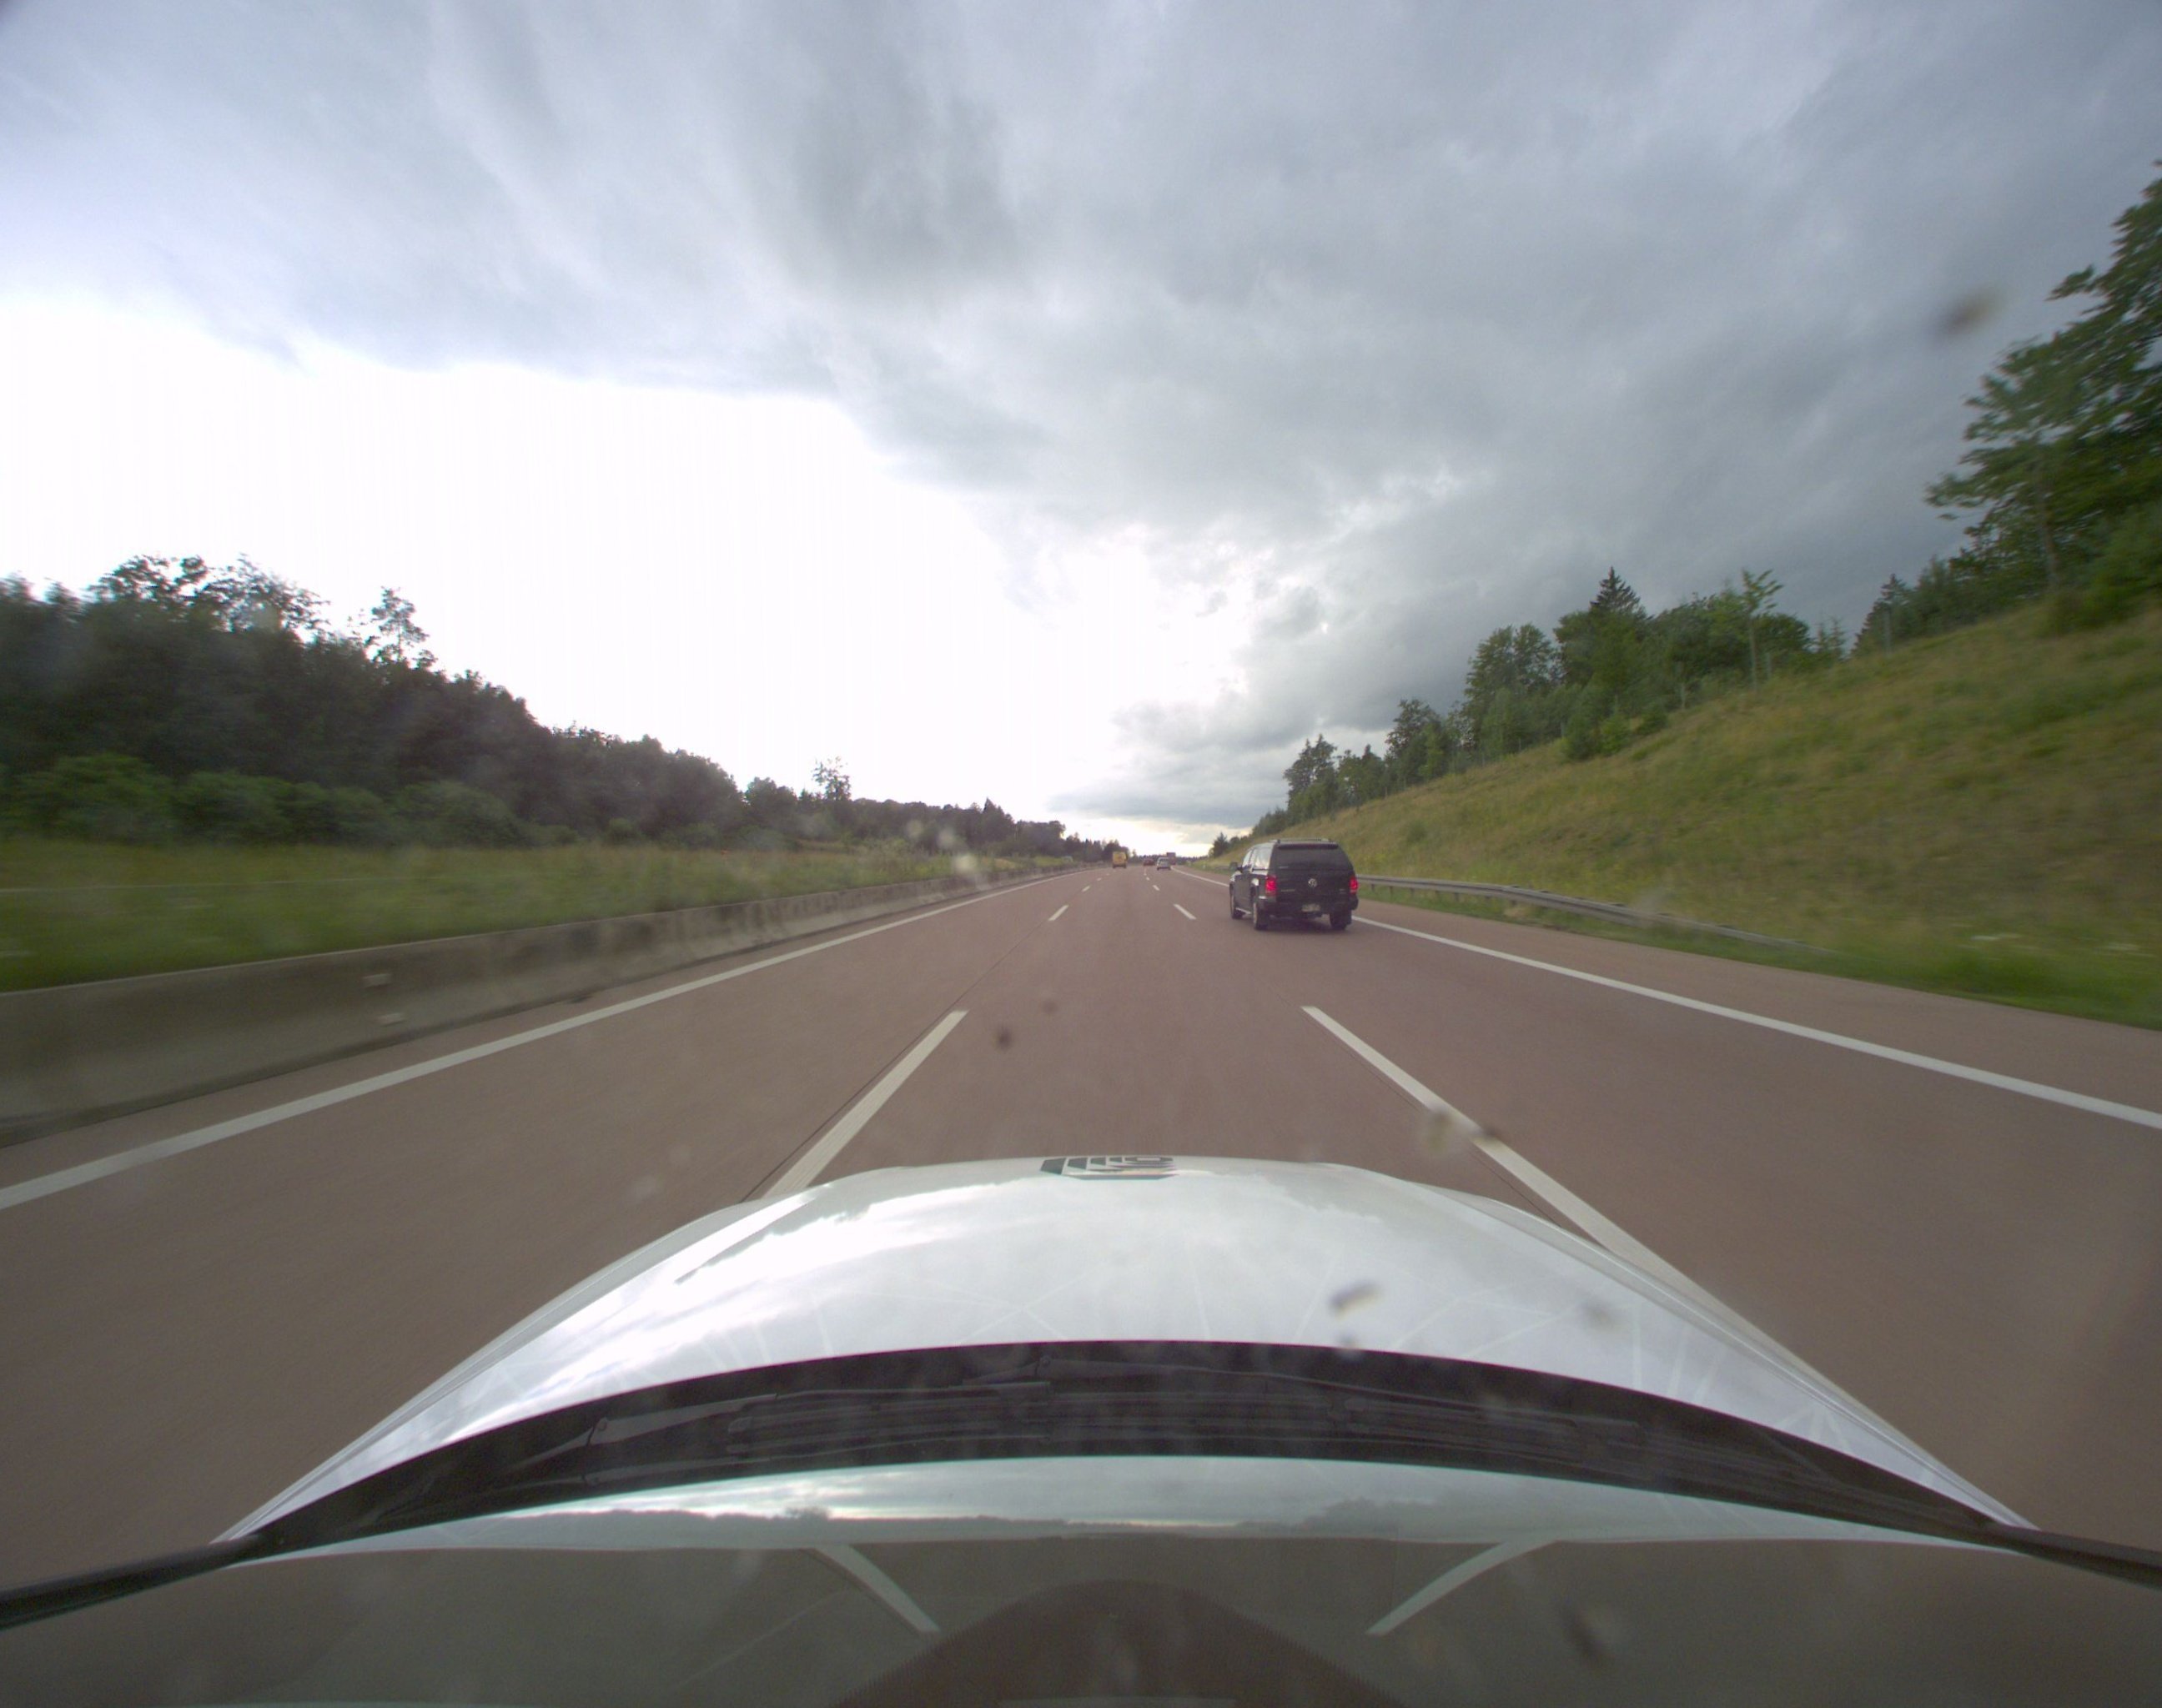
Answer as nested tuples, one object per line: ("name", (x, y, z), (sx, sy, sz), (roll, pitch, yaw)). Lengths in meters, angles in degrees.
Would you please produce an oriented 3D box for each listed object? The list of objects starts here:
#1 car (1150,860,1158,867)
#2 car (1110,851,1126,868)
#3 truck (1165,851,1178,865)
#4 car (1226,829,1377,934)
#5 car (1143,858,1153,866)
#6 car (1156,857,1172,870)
("car", (18.695, 2.489, 208.611), (1.877, 1.764, 5.007), (-2, -1, 7))
("car", (6.107, 0.931, 133.188), (2.447, 2.706, 5.619), (-1, -1, 4))
("truck", (28.848, 1.311, 260.133), (3.659, 3.913, 12.845), (0, -2, 9))
("car", (4.586, 0.555, 17.921), (2.036, 1.897, 5.581), (-1, -1, 3))
("car", (14.684, 1.786, 178.182), (1.877, 1.764, 4.791), (-2, -1, 7))
("car", (10.545, 1.251, 104.101), (1.968, 1.648, 4.625), (0, -1, 4))
